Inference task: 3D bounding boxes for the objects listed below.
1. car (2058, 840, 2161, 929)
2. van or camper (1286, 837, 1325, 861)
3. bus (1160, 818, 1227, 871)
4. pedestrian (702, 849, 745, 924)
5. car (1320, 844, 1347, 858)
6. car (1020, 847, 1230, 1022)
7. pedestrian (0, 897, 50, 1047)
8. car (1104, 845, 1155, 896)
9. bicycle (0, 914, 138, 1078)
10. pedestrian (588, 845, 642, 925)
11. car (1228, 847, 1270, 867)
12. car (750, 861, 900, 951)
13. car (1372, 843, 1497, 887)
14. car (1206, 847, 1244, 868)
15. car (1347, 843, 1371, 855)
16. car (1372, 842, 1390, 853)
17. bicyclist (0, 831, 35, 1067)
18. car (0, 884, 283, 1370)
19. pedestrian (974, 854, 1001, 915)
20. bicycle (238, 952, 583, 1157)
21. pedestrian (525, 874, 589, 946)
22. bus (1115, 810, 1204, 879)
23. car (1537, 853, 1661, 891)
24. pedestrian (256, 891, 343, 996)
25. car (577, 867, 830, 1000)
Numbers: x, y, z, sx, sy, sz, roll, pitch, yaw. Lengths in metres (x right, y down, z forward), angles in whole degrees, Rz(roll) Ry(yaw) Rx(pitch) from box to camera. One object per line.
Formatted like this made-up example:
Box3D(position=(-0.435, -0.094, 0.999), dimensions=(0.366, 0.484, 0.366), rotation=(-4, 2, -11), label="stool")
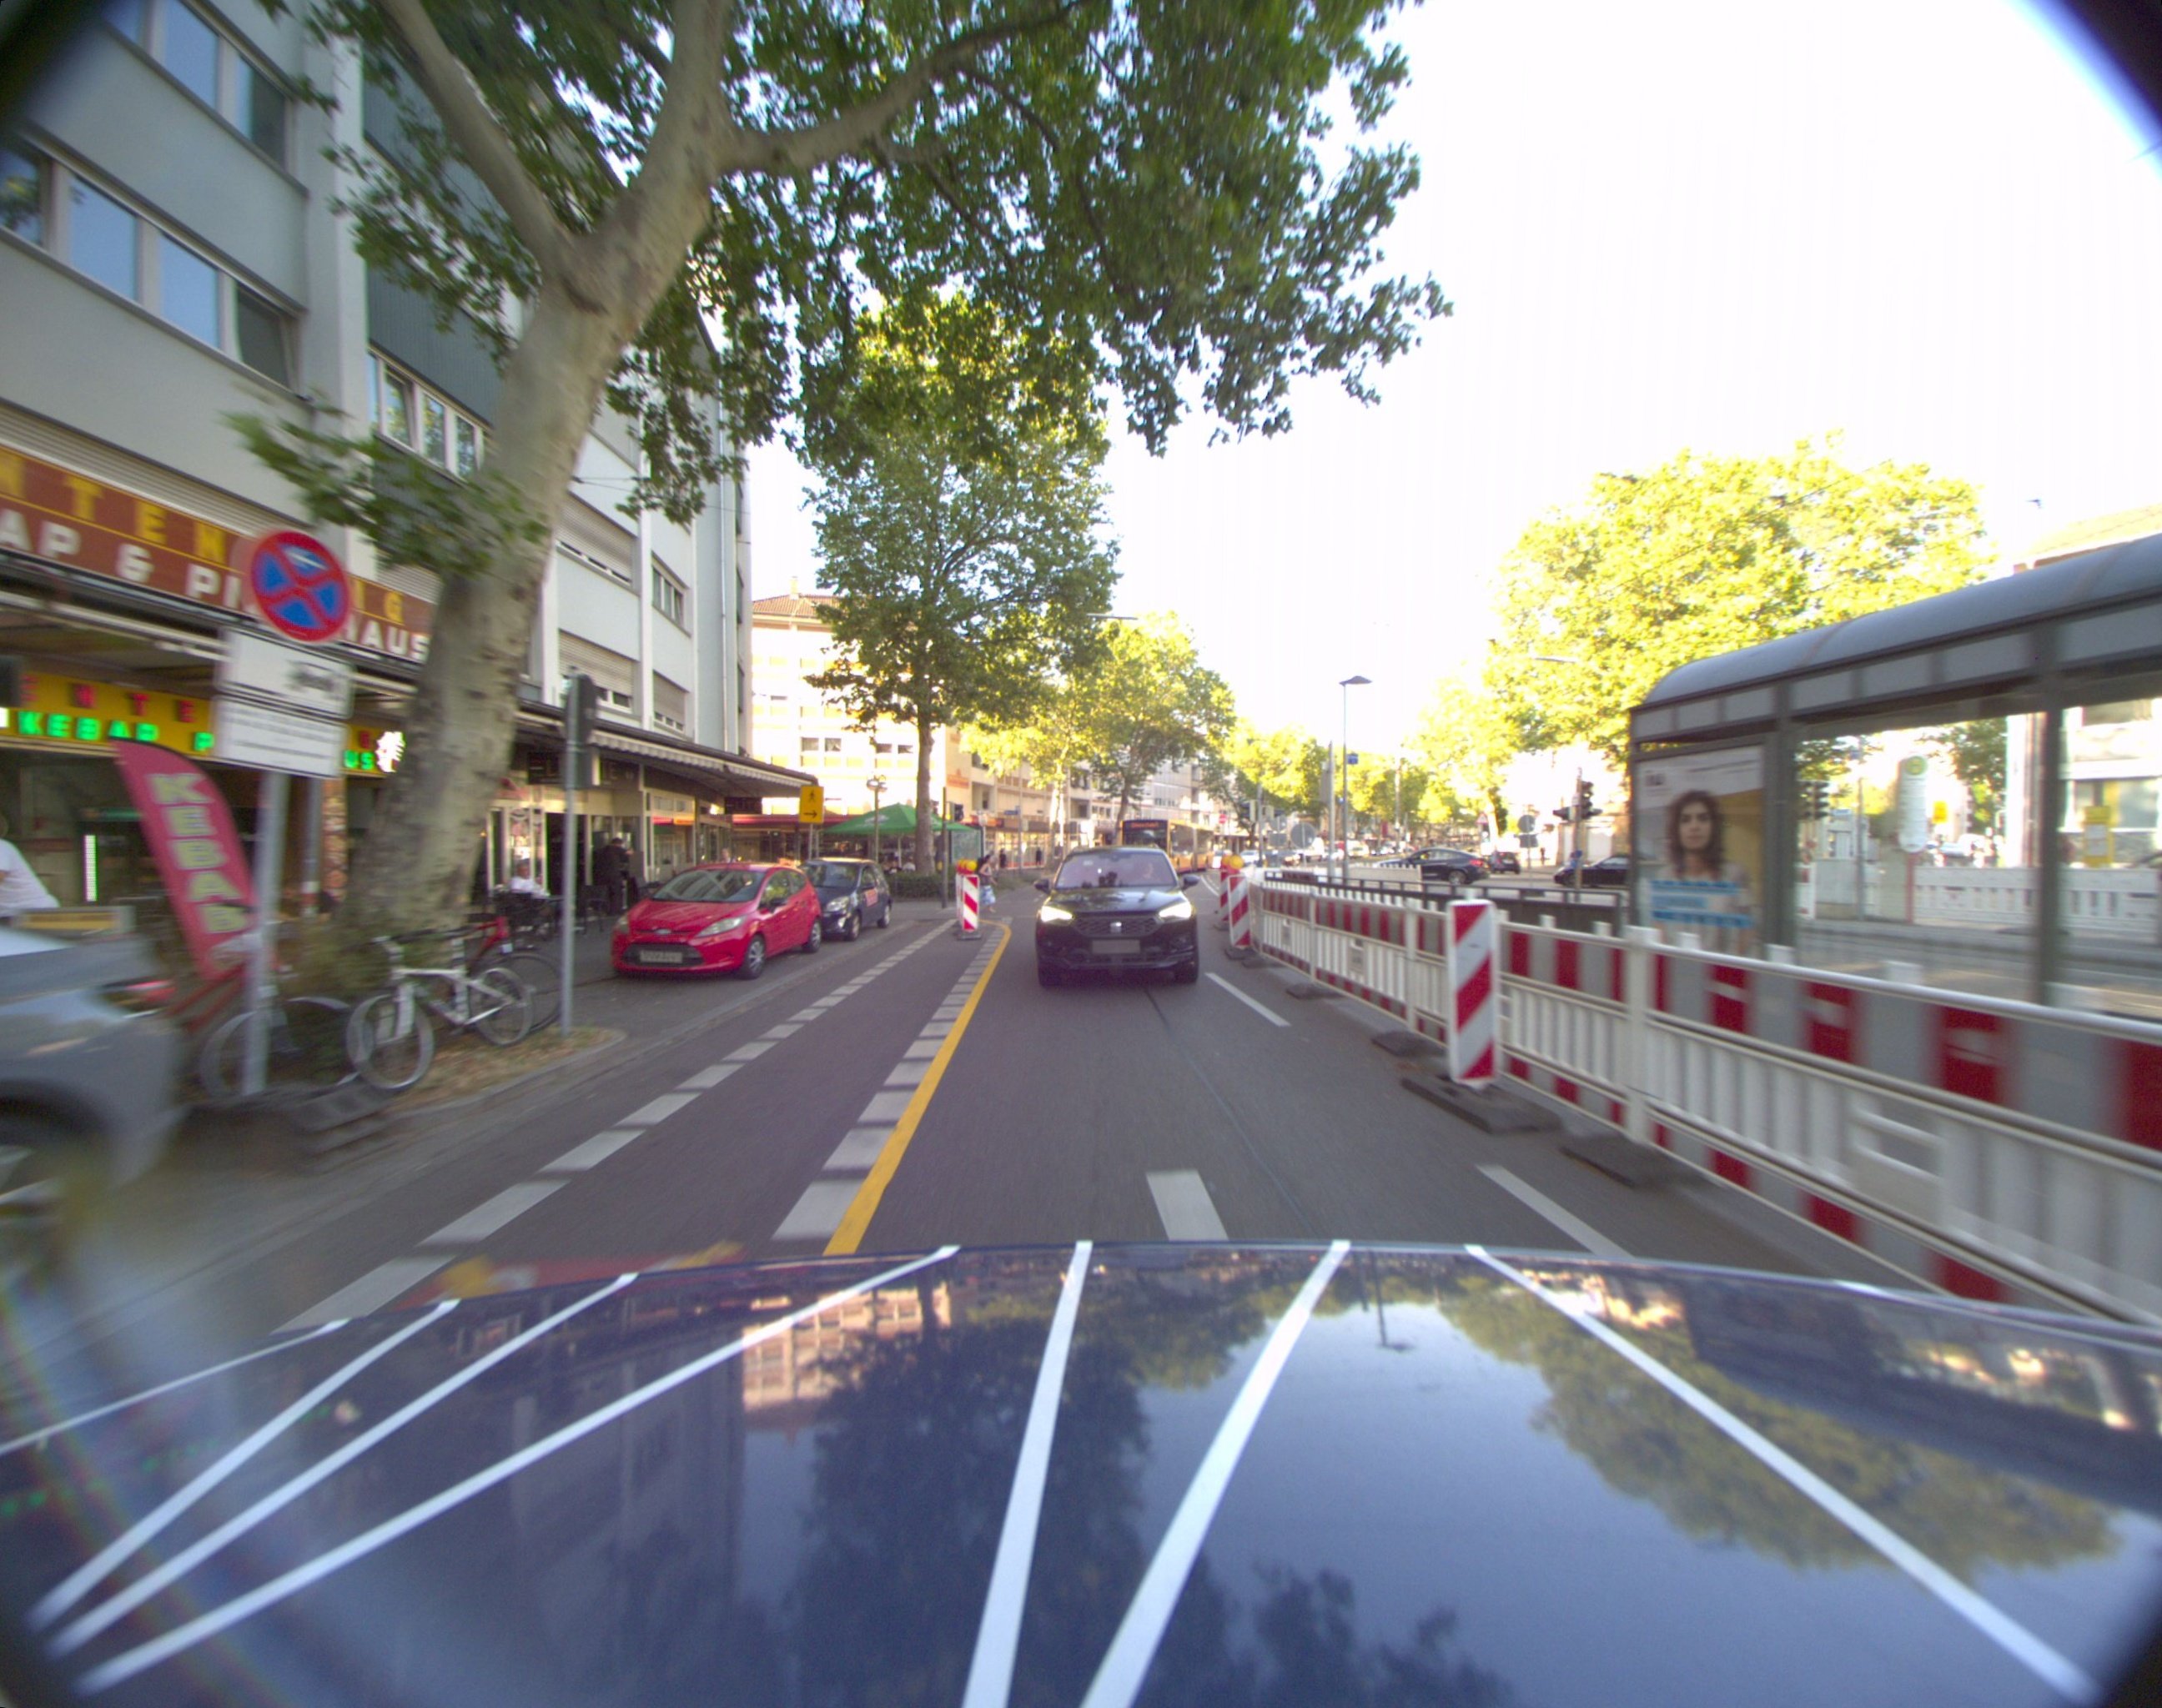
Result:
Box3D(position=(23.178, 0.617, 15.213), dimensions=(1.999, 1.805, 3.997), rotation=(-1, 1, -5), label="car")
Box3D(position=(24.411, -0.602, 82.398), dimensions=(2.285, 2.524, 5.506), rotation=(0, 1, 37), label="van or camper")
Box3D(position=(8.191, -0.650, 53.685), dimensions=(2.734, 3.188, 12.377), rotation=(-2, 0, 17), label="bus")
Box3D(position=(-7.637, 0.672, 16.251), dimensions=(0.584, 1.551, 0.642), rotation=(1, 1, 2), label="pedestrian")
Box3D(position=(30.108, -0.343, 90.562), dimensions=(1.994, 1.587, 4.008), rotation=(0, 1, 36), label="car")
Box3D(position=(0.403, 0.771, 9.498), dimensions=(1.999, 1.638, 4.203), rotation=(-2, 1, -1), label="car")
Box3D(position=(-9.593, 1.021, 6.522), dimensions=(0.646, 1.258, 0.606), rotation=(0, 1, 0), label="pedestrian")
Box3D(position=(1.693, 0.520, 26.259), dimensions=(1.610, 1.618, 3.679), rotation=(-1, 1, 5), label="car")
Box3D(position=(-8.184, 1.061, 5.145), dimensions=(0.778, 1.097, 2.267), rotation=(2, 0, 0), label="bicycle")
Box3D(position=(-10.046, 0.652, 16.408), dimensions=(0.710, 1.699, 0.678), rotation=(-1, 1, 1), label="pedestrian")
Box3D(position=(15.009, 0.247, 67.699), dimensions=(1.994, 1.587, 4.570), rotation=(0, 2, 36), label="car")
Box3D(position=(-4.859, 0.917, 14.963), dimensions=(1.659, 1.471, 3.800), rotation=(1, 0, 0), label="car")
Box3D(position=(15.169, 0.440, 32.729), dimensions=(4.424, 1.638, 2.005), rotation=(2, 1, 40), label="car")
Box3D(position=(11.820, 0.270, 62.085), dimensions=(1.995, 1.587, 4.569), rotation=(0, 1, 25), label="car")
Box3D(position=(36.856, -0.679, 100.669), dimensions=(1.994, 1.586, 4.008), rotation=(0, 0, 34), label="car")
Box3D(position=(44.661, -0.908, 113.129), dimensions=(1.702, 1.578, 3.714), rotation=(0, 1, 34), label="car")
Box3D(position=(-8.177, 0.676, 5.232), dimensions=(0.771, 1.699, 0.829), rotation=(2, 1, 0), label="bicyclist")
Box3D(position=(-4.535, 0.947, 1.066), dimensions=(1.923, 1.588, 4.789), rotation=(1, 0, -3), label="car")
Box3D(position=(-2.448, 0.795, 19.952), dimensions=(0.623, 1.551, 0.471), rotation=(-1, 1, -1), label="pedestrian")
Box3D(position=(-4.484, 1.274, 5.343), dimensions=(0.625, 0.879, 2.039), rotation=(2, 0, 0), label="bicycle")
Box3D(position=(-8.757, 0.921, 12.717), dimensions=(0.601, 1.141, 0.624), rotation=(3, 1, 1), label="pedestrian")
Box3D(position=(4.696, -0.493, 42.271), dimensions=(2.735, 3.188, 12.321), rotation=(-2, 0, 16), label="bus")
Box3D(position=(19.793, 0.657, 29.124), dimensions=(1.615, 1.262, 3.667), rotation=(-1, 2, -44), label="car")
Box3D(position=(-8.899, 0.998, 8.673), dimensions=(0.520, 1.127, 0.507), rotation=(0, 1, -22), label="pedestrian")
Box3D(position=(-4.999, 0.955, 10.732), dimensions=(1.735, 1.434, 3.982), rotation=(1, 0, -3), label="car")
